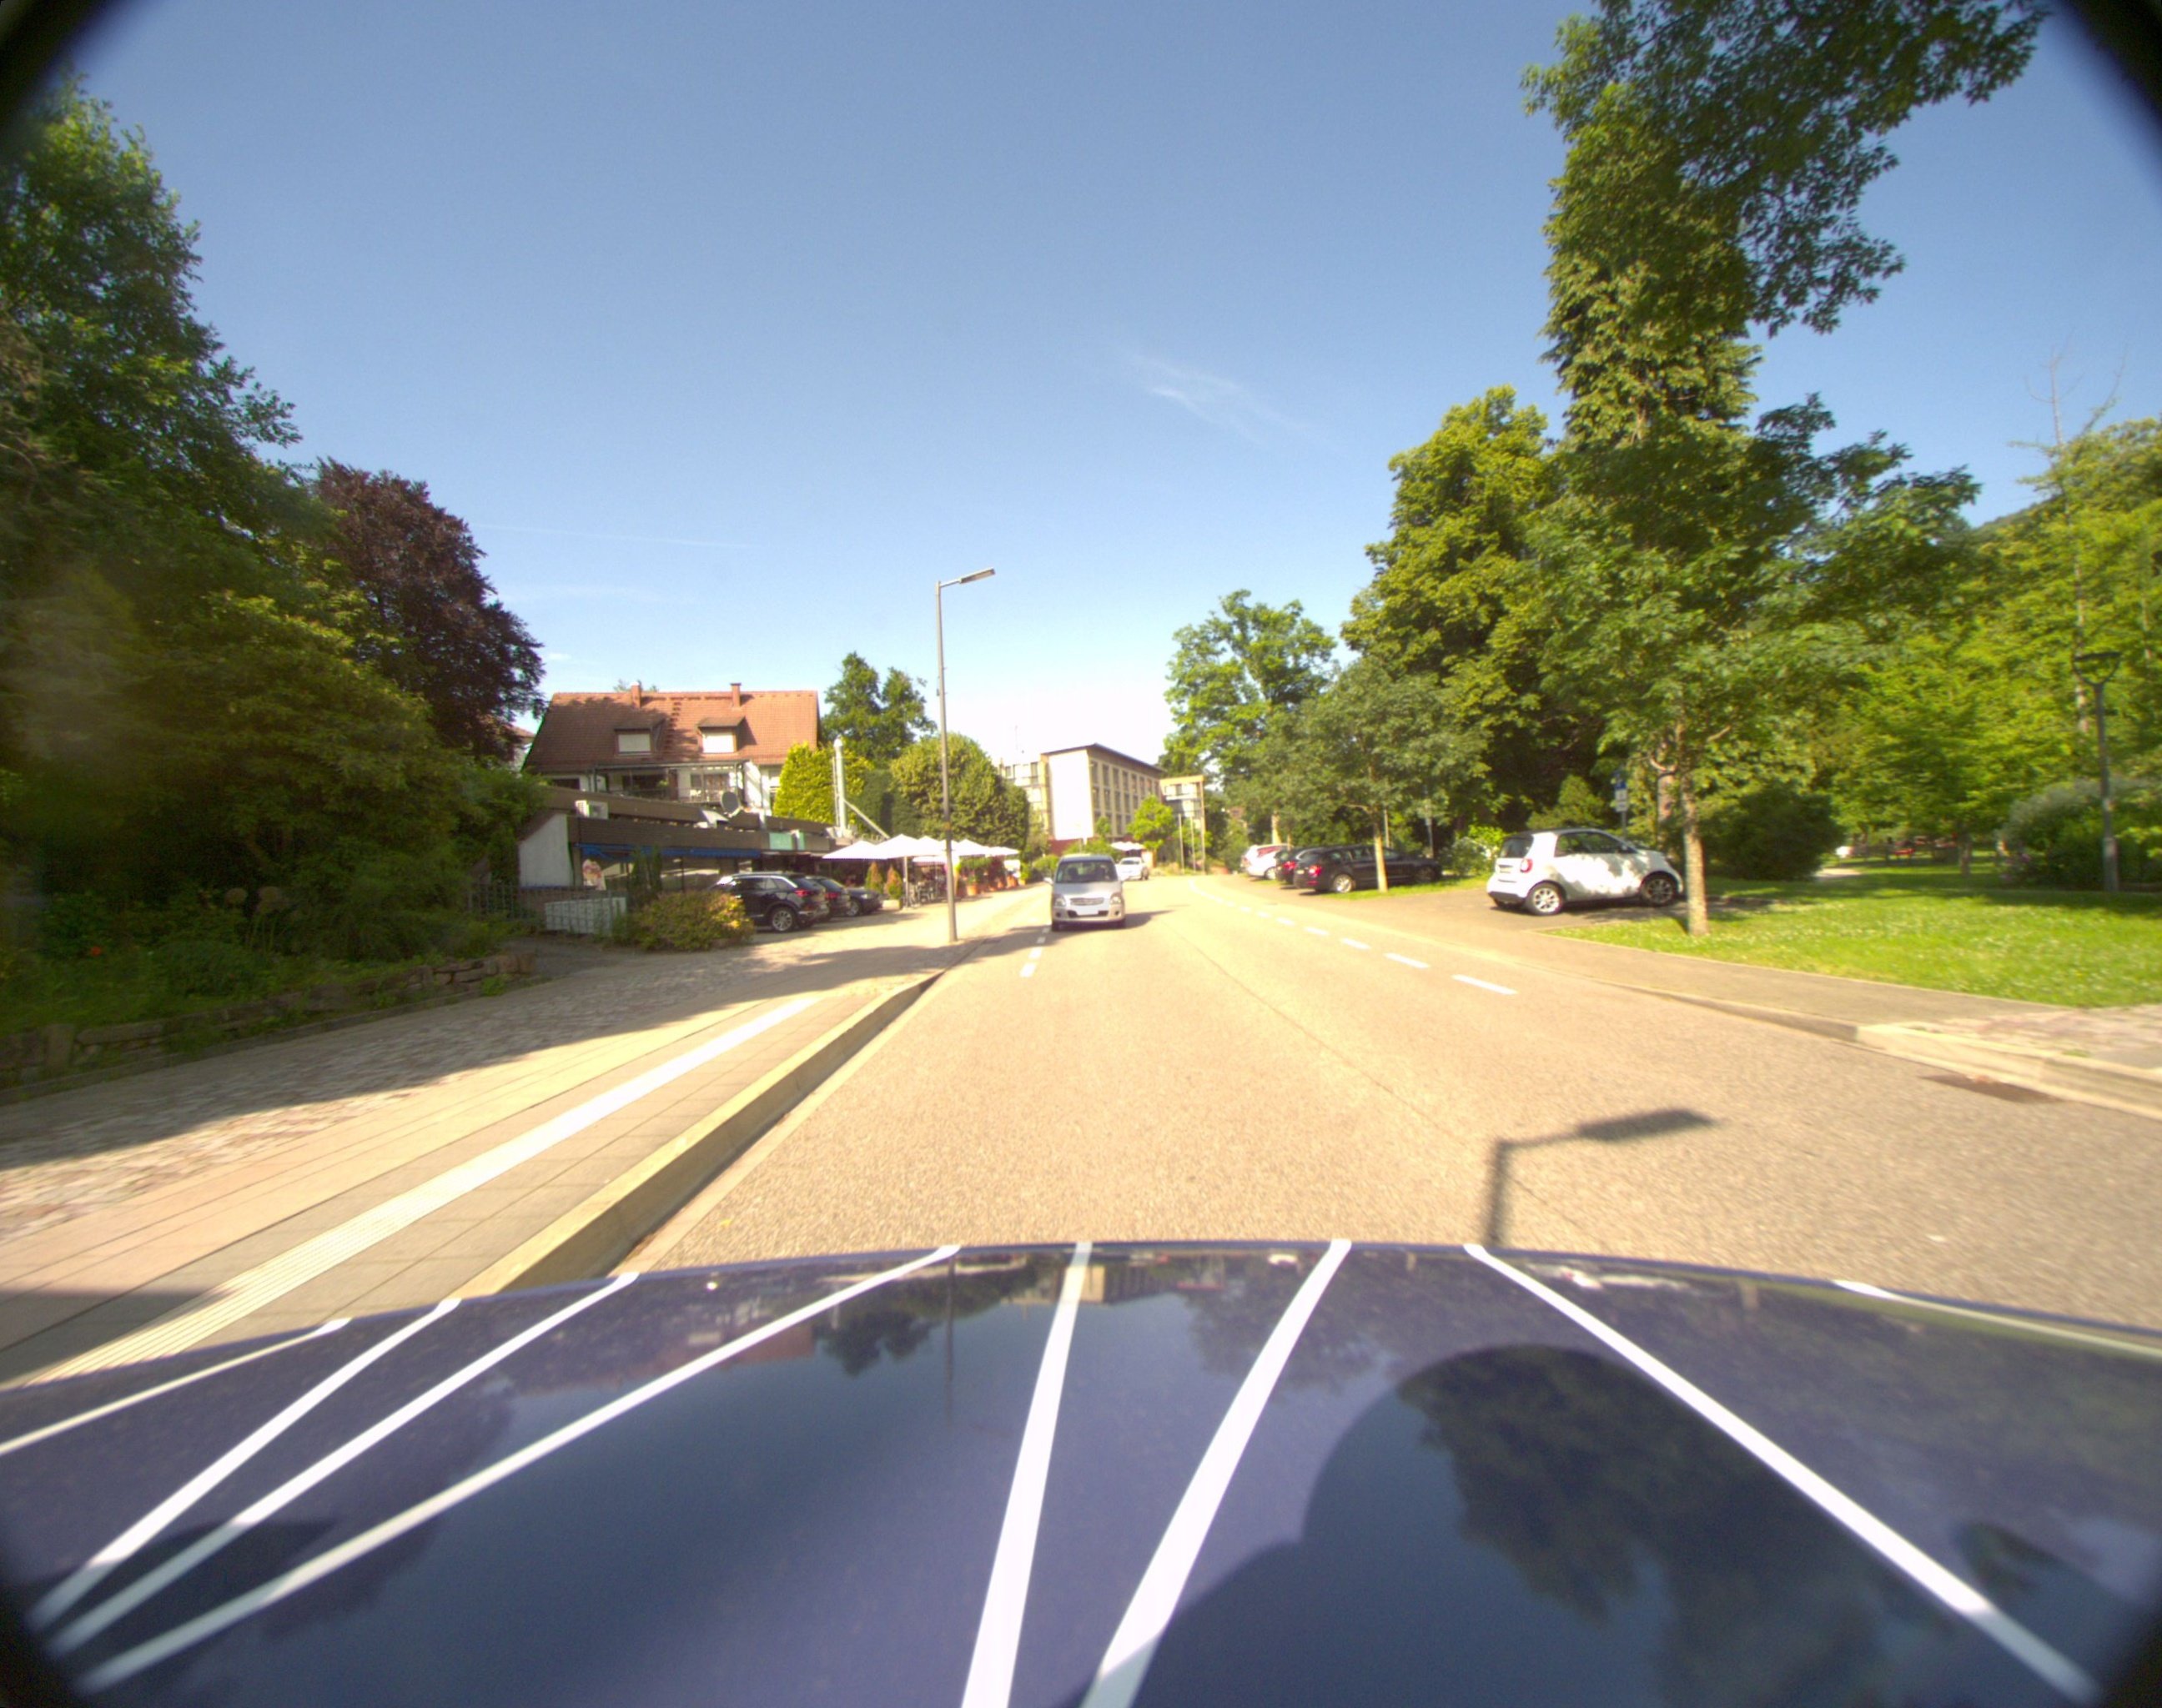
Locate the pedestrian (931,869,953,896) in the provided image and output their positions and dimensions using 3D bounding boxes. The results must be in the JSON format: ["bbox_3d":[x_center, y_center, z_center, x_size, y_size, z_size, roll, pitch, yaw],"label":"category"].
[{"bbox_3d":[-6.978,1.425,38.104,0.810,1.253,0.701,-3,0,20],"label":"pedestrian"}]

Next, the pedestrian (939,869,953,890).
[{"bbox_3d":[-8.331,1.572,46.769,0.507,1.224,0.700,-2,0,21],"label":"pedestrian"}]

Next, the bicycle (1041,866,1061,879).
[{"bbox_3d":[-2.267,1.389,56.915,1.544,0.977,0.385,-1,0,35],"label":"bicycle"}]

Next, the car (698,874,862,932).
[{"bbox_3d":[-8.887,1.434,22.636,4.119,1.407,1.748,-3,0,2],"label":"car"}]

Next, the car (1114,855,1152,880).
[{"bbox_3d":[3.356,0.873,48.400,1.738,1.488,3.934,-2,-2,14],"label":"car"}]

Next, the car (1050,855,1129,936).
[{"bbox_3d":[0.145,0.875,18.049,1.605,1.628,3.999,-2,0,-1],"label":"car"}]

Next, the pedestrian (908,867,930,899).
[{"bbox_3d":[-7.322,1.318,34.405,0.701,1.373,0.810,-3,0,-29],"label":"pedestrian"}]

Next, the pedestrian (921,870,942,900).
[{"bbox_3d":[-6.498,1.346,33.057,0.812,1.253,0.700,-3,0,-7],"label":"pedestrian"}]

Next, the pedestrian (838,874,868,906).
[{"bbox_3d":[-9.128,1.438,30.412,0.699,1.253,0.814,-3,0,28],"label":"pedestrian"}]

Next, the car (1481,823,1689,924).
[{"bbox_3d":[9.247,0.349,14.141,2.656,1.538,1.683,-5,0,7],"label":"car"}]

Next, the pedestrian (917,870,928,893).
[{"bbox_3d":[-8.881,1.534,42.528,0.470,1.258,0.440,-2,0,-2],"label":"pedestrian"}]

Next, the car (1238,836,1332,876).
[{"bbox_3d":[10.922,0.113,40.990,4.493,1.654,1.810,-6,1,3],"label":"car"}]

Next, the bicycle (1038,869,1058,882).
[{"bbox_3d":[-2.438,1.565,55.952,1.543,0.904,0.385,-1,0,35],"label":"bicycle"}]

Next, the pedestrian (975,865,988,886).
[{"bbox_3d":[-6.215,1.347,47.374,0.649,1.276,0.645,-2,0,0],"label":"pedestrian"}]

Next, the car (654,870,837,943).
[{"bbox_3d":[-8.578,1.324,19.699,3.886,1.571,1.748,-3,0,-3],"label":"car"}]

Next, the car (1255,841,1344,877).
[{"bbox_3d":[10.975,0.244,38.436,3.995,1.424,1.720,-5,0,7],"label":"car"}]

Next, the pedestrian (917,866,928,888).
[{"bbox_3d":[-9.225,1.310,44.157,0.409,1.260,0.509,-2,0,12],"label":"pedestrian"}]

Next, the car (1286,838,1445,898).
[{"bbox_3d":[8.901,0.435,23.948,4.288,1.423,1.712,-5,0,-5],"label":"car"}]

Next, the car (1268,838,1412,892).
[{"bbox_3d":[9.297,0.378,27.520,4.505,1.501,1.713,-5,0,0],"label":"car"}]

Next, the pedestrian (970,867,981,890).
[{"bbox_3d":[-5.687,1.314,41.041,0.473,1.238,0.592,-2,1,-14],"label":"pedestrian"}]

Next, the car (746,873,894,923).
[{"bbox_3d":[-8.621,1.439,25.308,4.272,1.371,1.709,-3,1,2],"label":"car"}]

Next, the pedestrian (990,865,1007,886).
[{"bbox_3d":[-5.121,1.330,47.162,0.950,1.276,0.645,-2,0,0],"label":"pedestrian"}]

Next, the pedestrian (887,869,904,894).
[{"bbox_3d":[-9.861,1.466,40.373,0.639,1.297,0.579,-2,0,-35],"label":"pedestrian"}]

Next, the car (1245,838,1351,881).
[{"bbox_3d":[10.044,0.232,35.433,4.491,1.409,1.811,-7,0,12],"label":"car"}]
